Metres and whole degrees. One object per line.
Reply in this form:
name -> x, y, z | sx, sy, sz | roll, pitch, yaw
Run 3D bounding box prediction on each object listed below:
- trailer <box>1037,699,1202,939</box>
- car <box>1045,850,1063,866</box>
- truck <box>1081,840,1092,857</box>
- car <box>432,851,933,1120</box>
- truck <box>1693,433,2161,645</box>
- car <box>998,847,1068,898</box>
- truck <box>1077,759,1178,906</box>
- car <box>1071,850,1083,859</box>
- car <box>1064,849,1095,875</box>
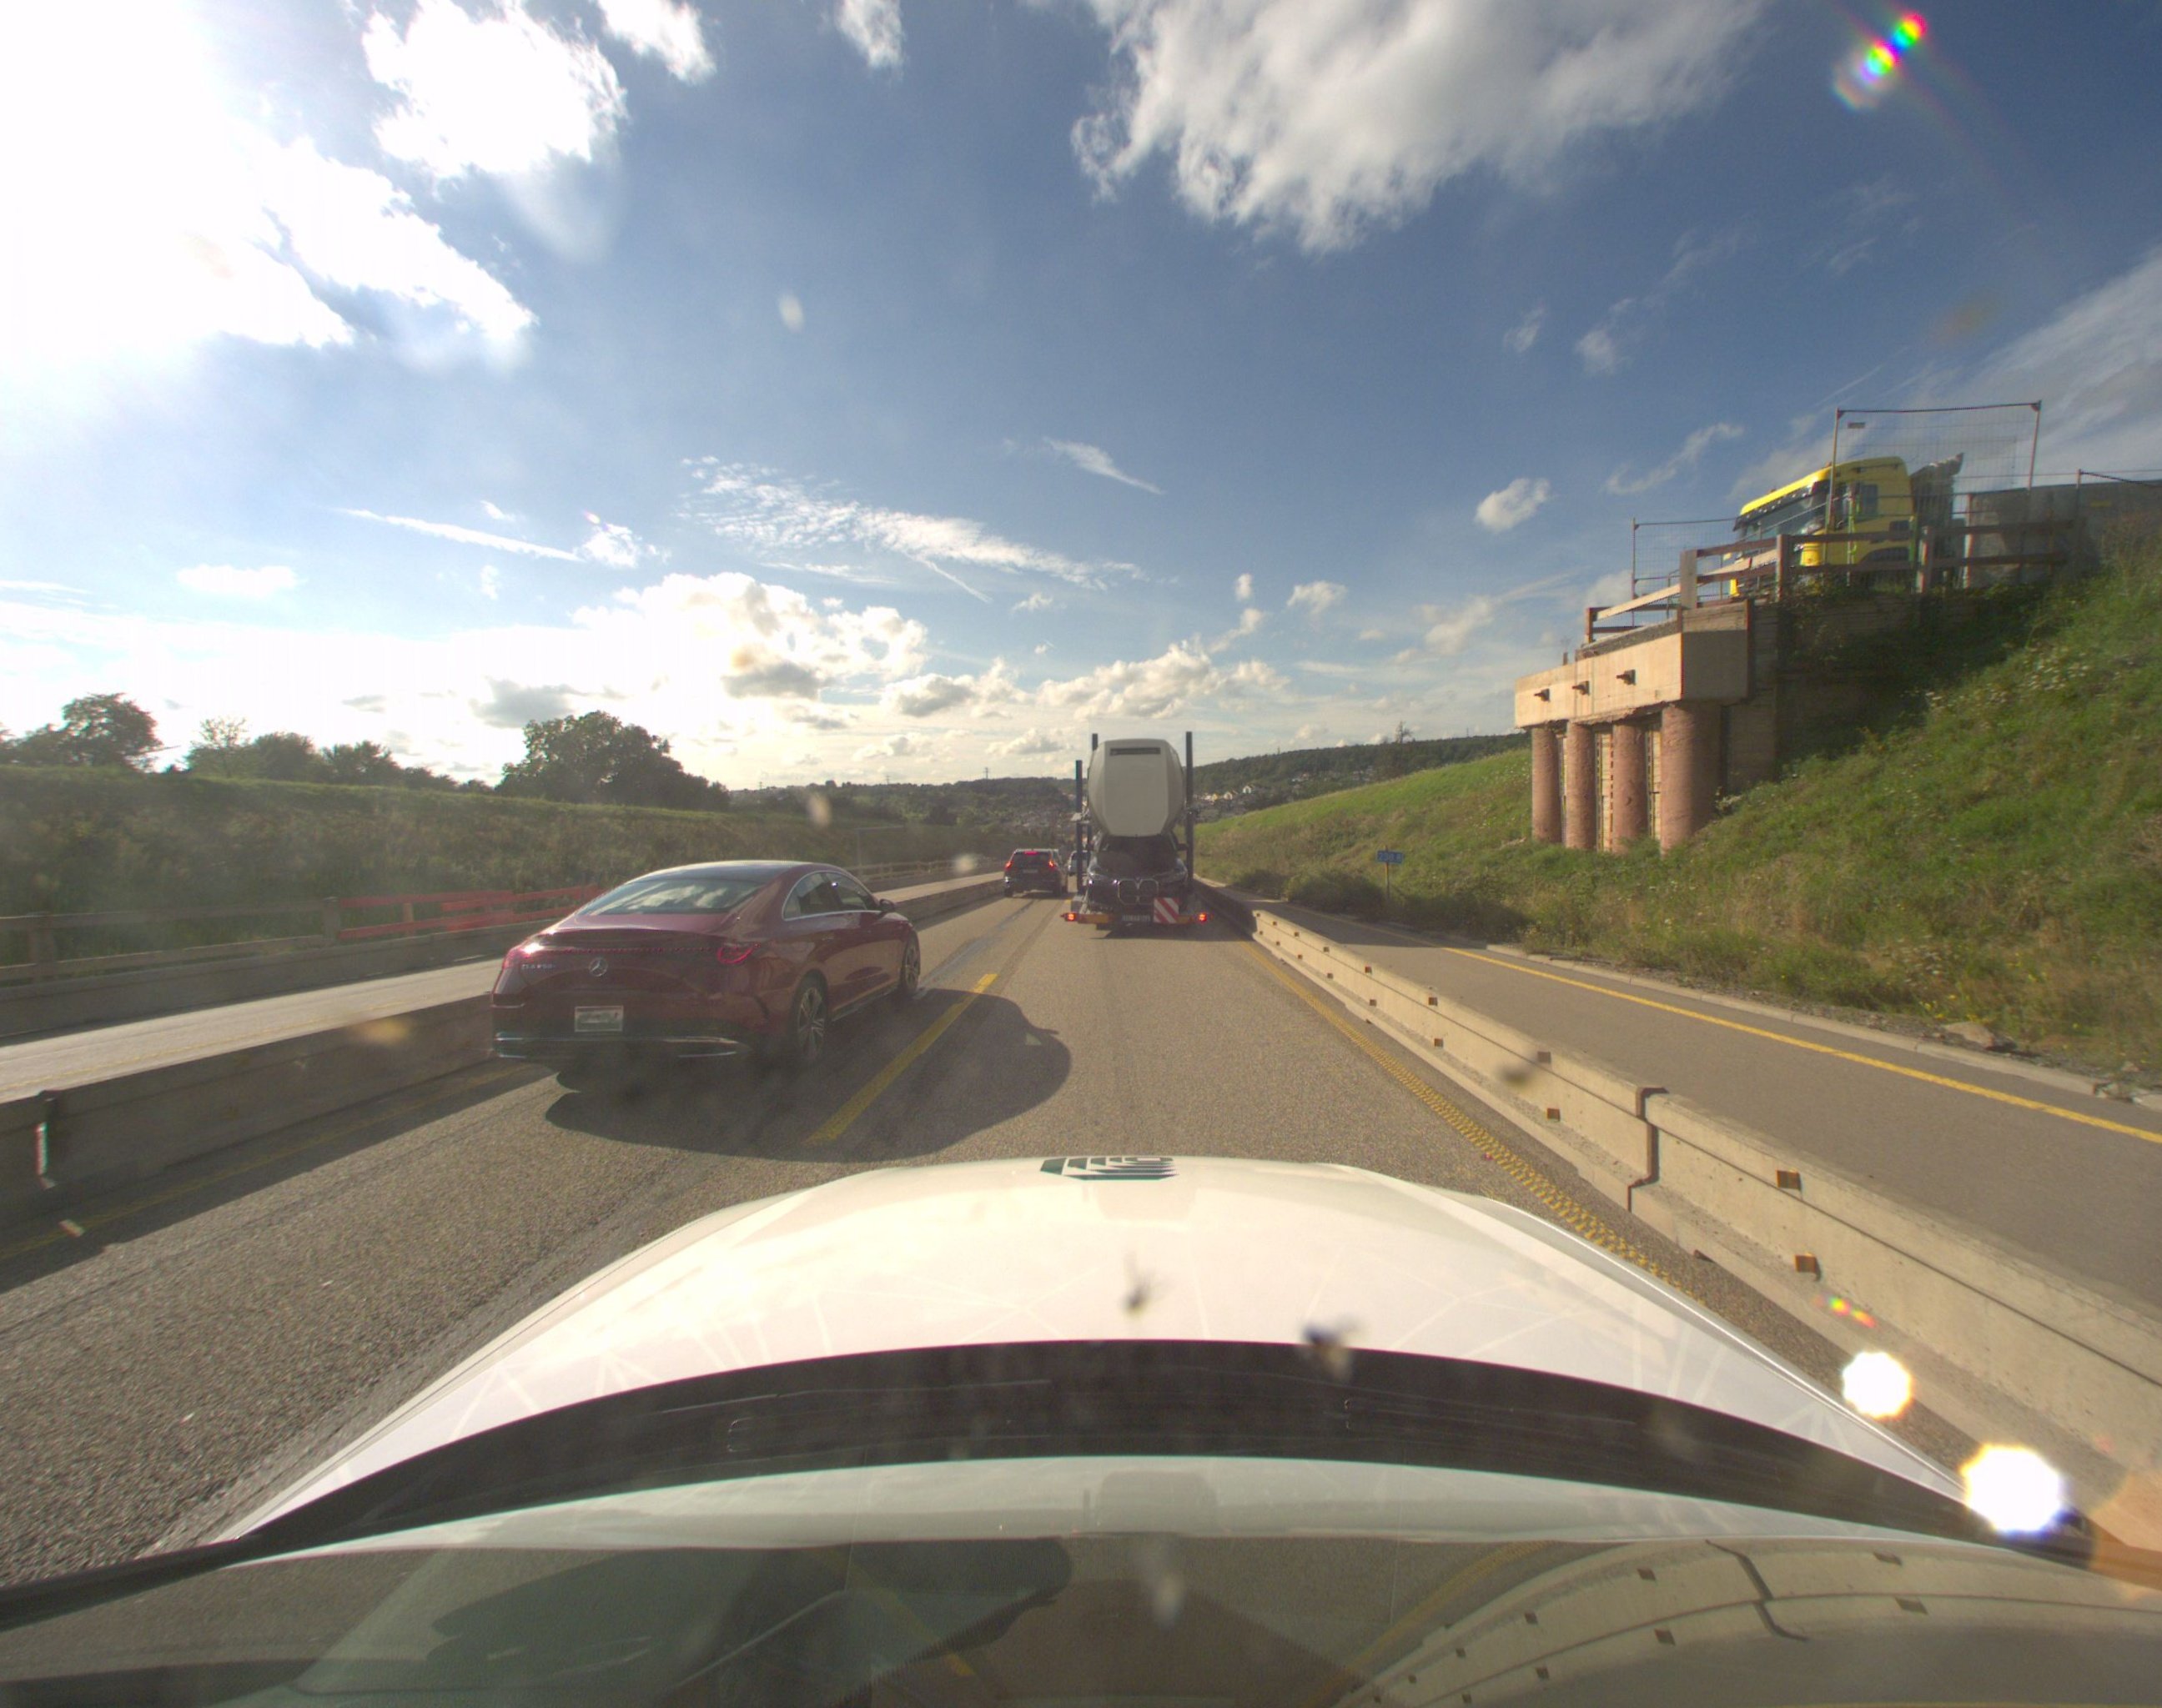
trailer -> 1.059, -0.618, 19.557 | 2.696, 4.029, 11.432 | -1, 0, 4
car -> -3.162, 0.454, 95.281 | 1.727, 1.659, 4.220 | -4, 1, 2
truck -> 1.389, -1.443, 209.414 | 2.605, 4.153, 5.783 | -1, 0, 2
car -> -2.704, 0.740, 6.990 | 1.816, 1.492, 4.687 | 0, 1, 2
truck -> 18.916, -6.600, 17.503 | 9.230, 3.227, 2.960 | -1, 0, 1
car -> -1.588, 0.581, 28.726 | 1.985, 1.625, 4.753 | -1, 1, 2
truck -> 1.470, -0.598, 25.103 | 2.666, 3.922, 6.034 | -1, 0, 4
car -> -0.695, 0.106, 138.627 | 1.727, 1.425, 4.630 | -4, 0, 2
car -> -0.037, 0.478, 52.055 | 1.789, 1.596, 4.745 | -1, 0, 2
